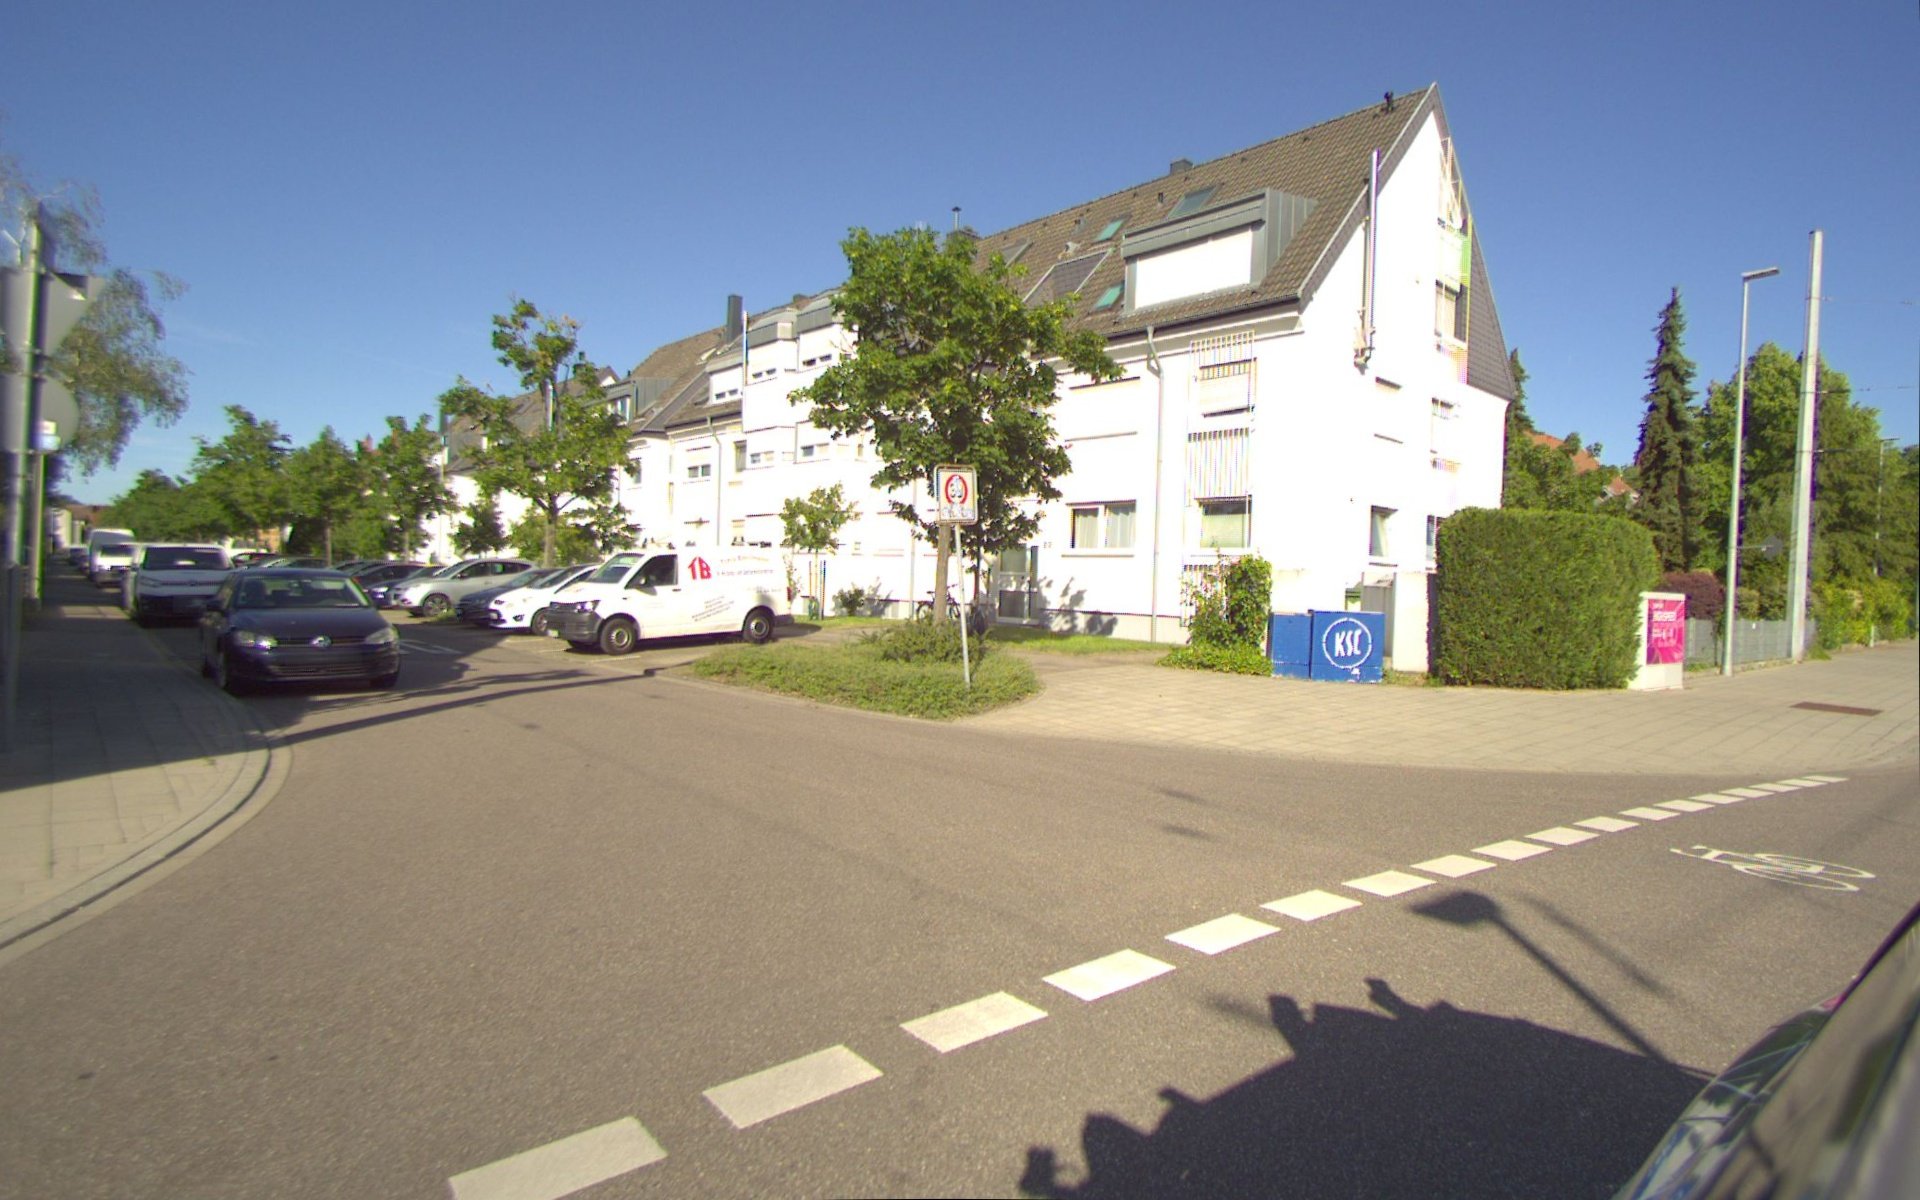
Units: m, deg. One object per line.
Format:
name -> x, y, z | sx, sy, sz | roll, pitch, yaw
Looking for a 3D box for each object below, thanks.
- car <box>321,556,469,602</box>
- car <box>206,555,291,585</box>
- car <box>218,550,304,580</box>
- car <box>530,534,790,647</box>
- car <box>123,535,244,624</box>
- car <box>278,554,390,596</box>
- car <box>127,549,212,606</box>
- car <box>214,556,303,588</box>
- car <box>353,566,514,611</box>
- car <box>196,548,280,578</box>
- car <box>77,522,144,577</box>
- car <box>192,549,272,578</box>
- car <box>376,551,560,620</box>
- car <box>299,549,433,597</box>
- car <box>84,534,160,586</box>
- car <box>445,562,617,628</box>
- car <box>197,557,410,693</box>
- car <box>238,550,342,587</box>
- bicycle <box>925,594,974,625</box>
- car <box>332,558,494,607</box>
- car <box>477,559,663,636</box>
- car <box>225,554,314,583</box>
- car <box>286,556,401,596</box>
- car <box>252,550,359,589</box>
car -> -20.995, -0.759, 37.710 | 4.424, 1.546, 1.992 | 1, 1, -44
car -> -44.495, -1.863, 63.334 | 4.140, 1.728, 1.850 | 1, 1, -44
car -> -40.797, -2.049, 59.112 | 3.895, 1.594, 1.806 | 1, 1, -44
car -> -5.785, -0.183, 19.899 | 4.568, 1.974, 1.832 | 0, 1, -43
car -> -18.171, -0.510, 23.596 | 1.845, 1.866, 4.647 | 2, 1, -42
car -> -28.401, -1.141, 45.989 | 4.040, 1.728, 1.788 | 1, 1, -44
car -> -23.362, -0.678, 29.863 | 1.589, 1.522, 3.992 | 2, 1, -43
car -> -42.357, -1.666, 61.157 | 4.140, 1.728, 1.850 | 1, 1, -44
car -> -17.357, -0.359, 33.493 | 4.363, 1.338, 1.791 | 1, 1, -44
car -> -46.587, -2.382, 65.355 | 4.140, 1.728, 1.850 | 1, 1, -44
car -> -44.315, -2.611, 52.749 | 2.345, 2.632, 5.508 | 2, 1, -43
car -> -49.121, -2.457, 68.339 | 4.140, 1.728, 1.850 | 1, 1, -44
car -> -14.260, -0.394, 29.510 | 4.512, 1.835, 1.705 | 1, 1, -44
car -> -23.969, -1.065, 40.906 | 4.333, 1.728, 1.850 | 1, 1, -44
car -> -35.913, -1.722, 43.342 | 2.184, 2.066, 4.335 | 2, 1, -43
car -> -10.799, -0.152, 25.622 | 3.727, 1.508, 1.524 | -1, 3, -44
car -> -8.393, 0.215, 12.780 | 1.823, 1.390, 3.997 | 2, 1, -39
car -> -34.117, -1.589, 51.560 | 4.140, 1.728, 1.850 | 1, 1, -44
bicycle -> -0.223, 0.216, 23.305 | 0.307, 0.686, 1.402 | 0, 0, 38
car -> -19.069, -0.602, 35.422 | 4.619, 1.524, 1.995 | 1, 1, -44
car -> -9.121, -0.094, 23.808 | 3.727, 1.612, 1.694 | -1, 4, -44
car -> -37.840, -1.730, 55.501 | 3.739, 1.465, 1.766 | 1, 2, -44
car -> -26.047, -0.998, 42.835 | 3.877, 1.500, 1.697 | 1, 1, -44
car -> -31.630, -1.456, 48.961 | 4.016, 1.668, 1.819 | 1, 1, -44
